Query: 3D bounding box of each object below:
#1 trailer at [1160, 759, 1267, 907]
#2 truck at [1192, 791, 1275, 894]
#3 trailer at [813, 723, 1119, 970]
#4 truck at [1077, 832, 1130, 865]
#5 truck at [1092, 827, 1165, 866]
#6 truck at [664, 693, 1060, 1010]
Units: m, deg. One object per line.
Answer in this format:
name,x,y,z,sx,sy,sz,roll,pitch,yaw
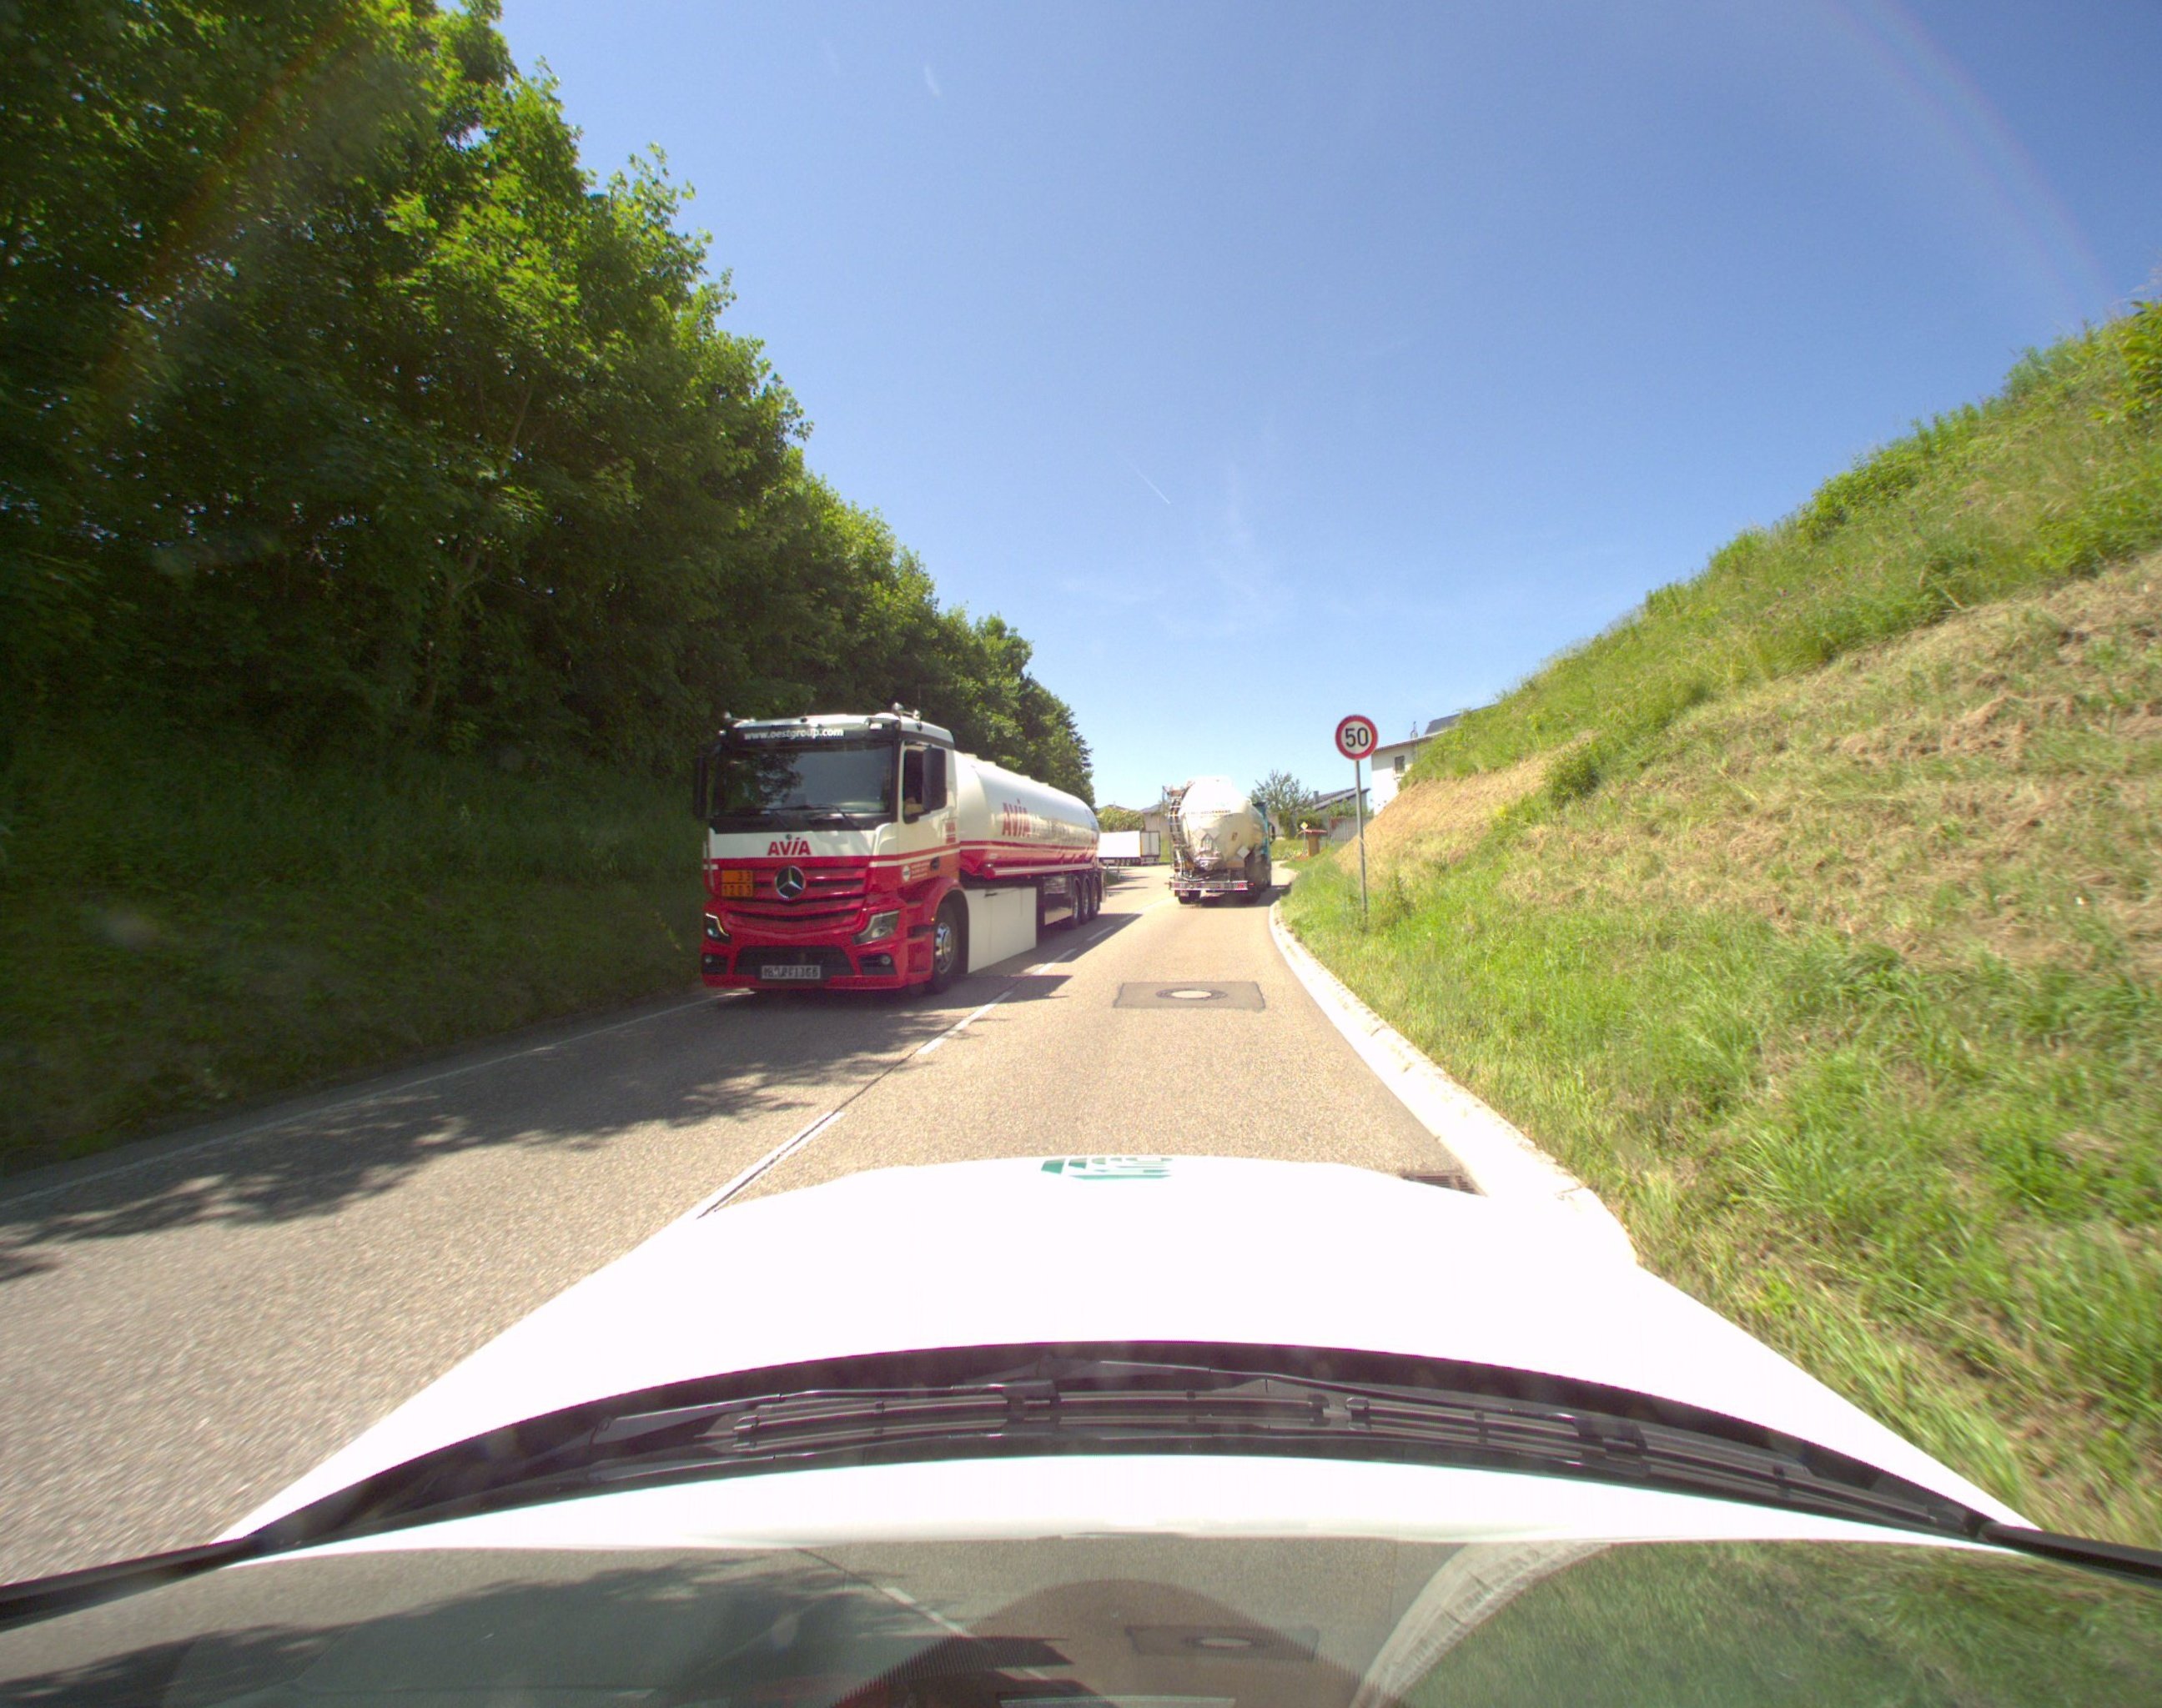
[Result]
trailer,5.134,-0.581,29.378,2.642,4.189,11.949,-2,-1,14
truck,6.846,-0.432,35.692,2.706,3.930,7.294,-2,-1,16
trailer,-1.409,-0.040,16.894,2.616,3.373,11.177,-2,-1,11
truck,2.737,-0.628,102.300,3.207,3.933,8.179,1,0,-27
truck,5.467,-0.812,96.997,3.207,4.309,11.697,1,0,-27
truck,-2.411,0.030,11.845,2.609,3.170,7.090,-2,-1,11
